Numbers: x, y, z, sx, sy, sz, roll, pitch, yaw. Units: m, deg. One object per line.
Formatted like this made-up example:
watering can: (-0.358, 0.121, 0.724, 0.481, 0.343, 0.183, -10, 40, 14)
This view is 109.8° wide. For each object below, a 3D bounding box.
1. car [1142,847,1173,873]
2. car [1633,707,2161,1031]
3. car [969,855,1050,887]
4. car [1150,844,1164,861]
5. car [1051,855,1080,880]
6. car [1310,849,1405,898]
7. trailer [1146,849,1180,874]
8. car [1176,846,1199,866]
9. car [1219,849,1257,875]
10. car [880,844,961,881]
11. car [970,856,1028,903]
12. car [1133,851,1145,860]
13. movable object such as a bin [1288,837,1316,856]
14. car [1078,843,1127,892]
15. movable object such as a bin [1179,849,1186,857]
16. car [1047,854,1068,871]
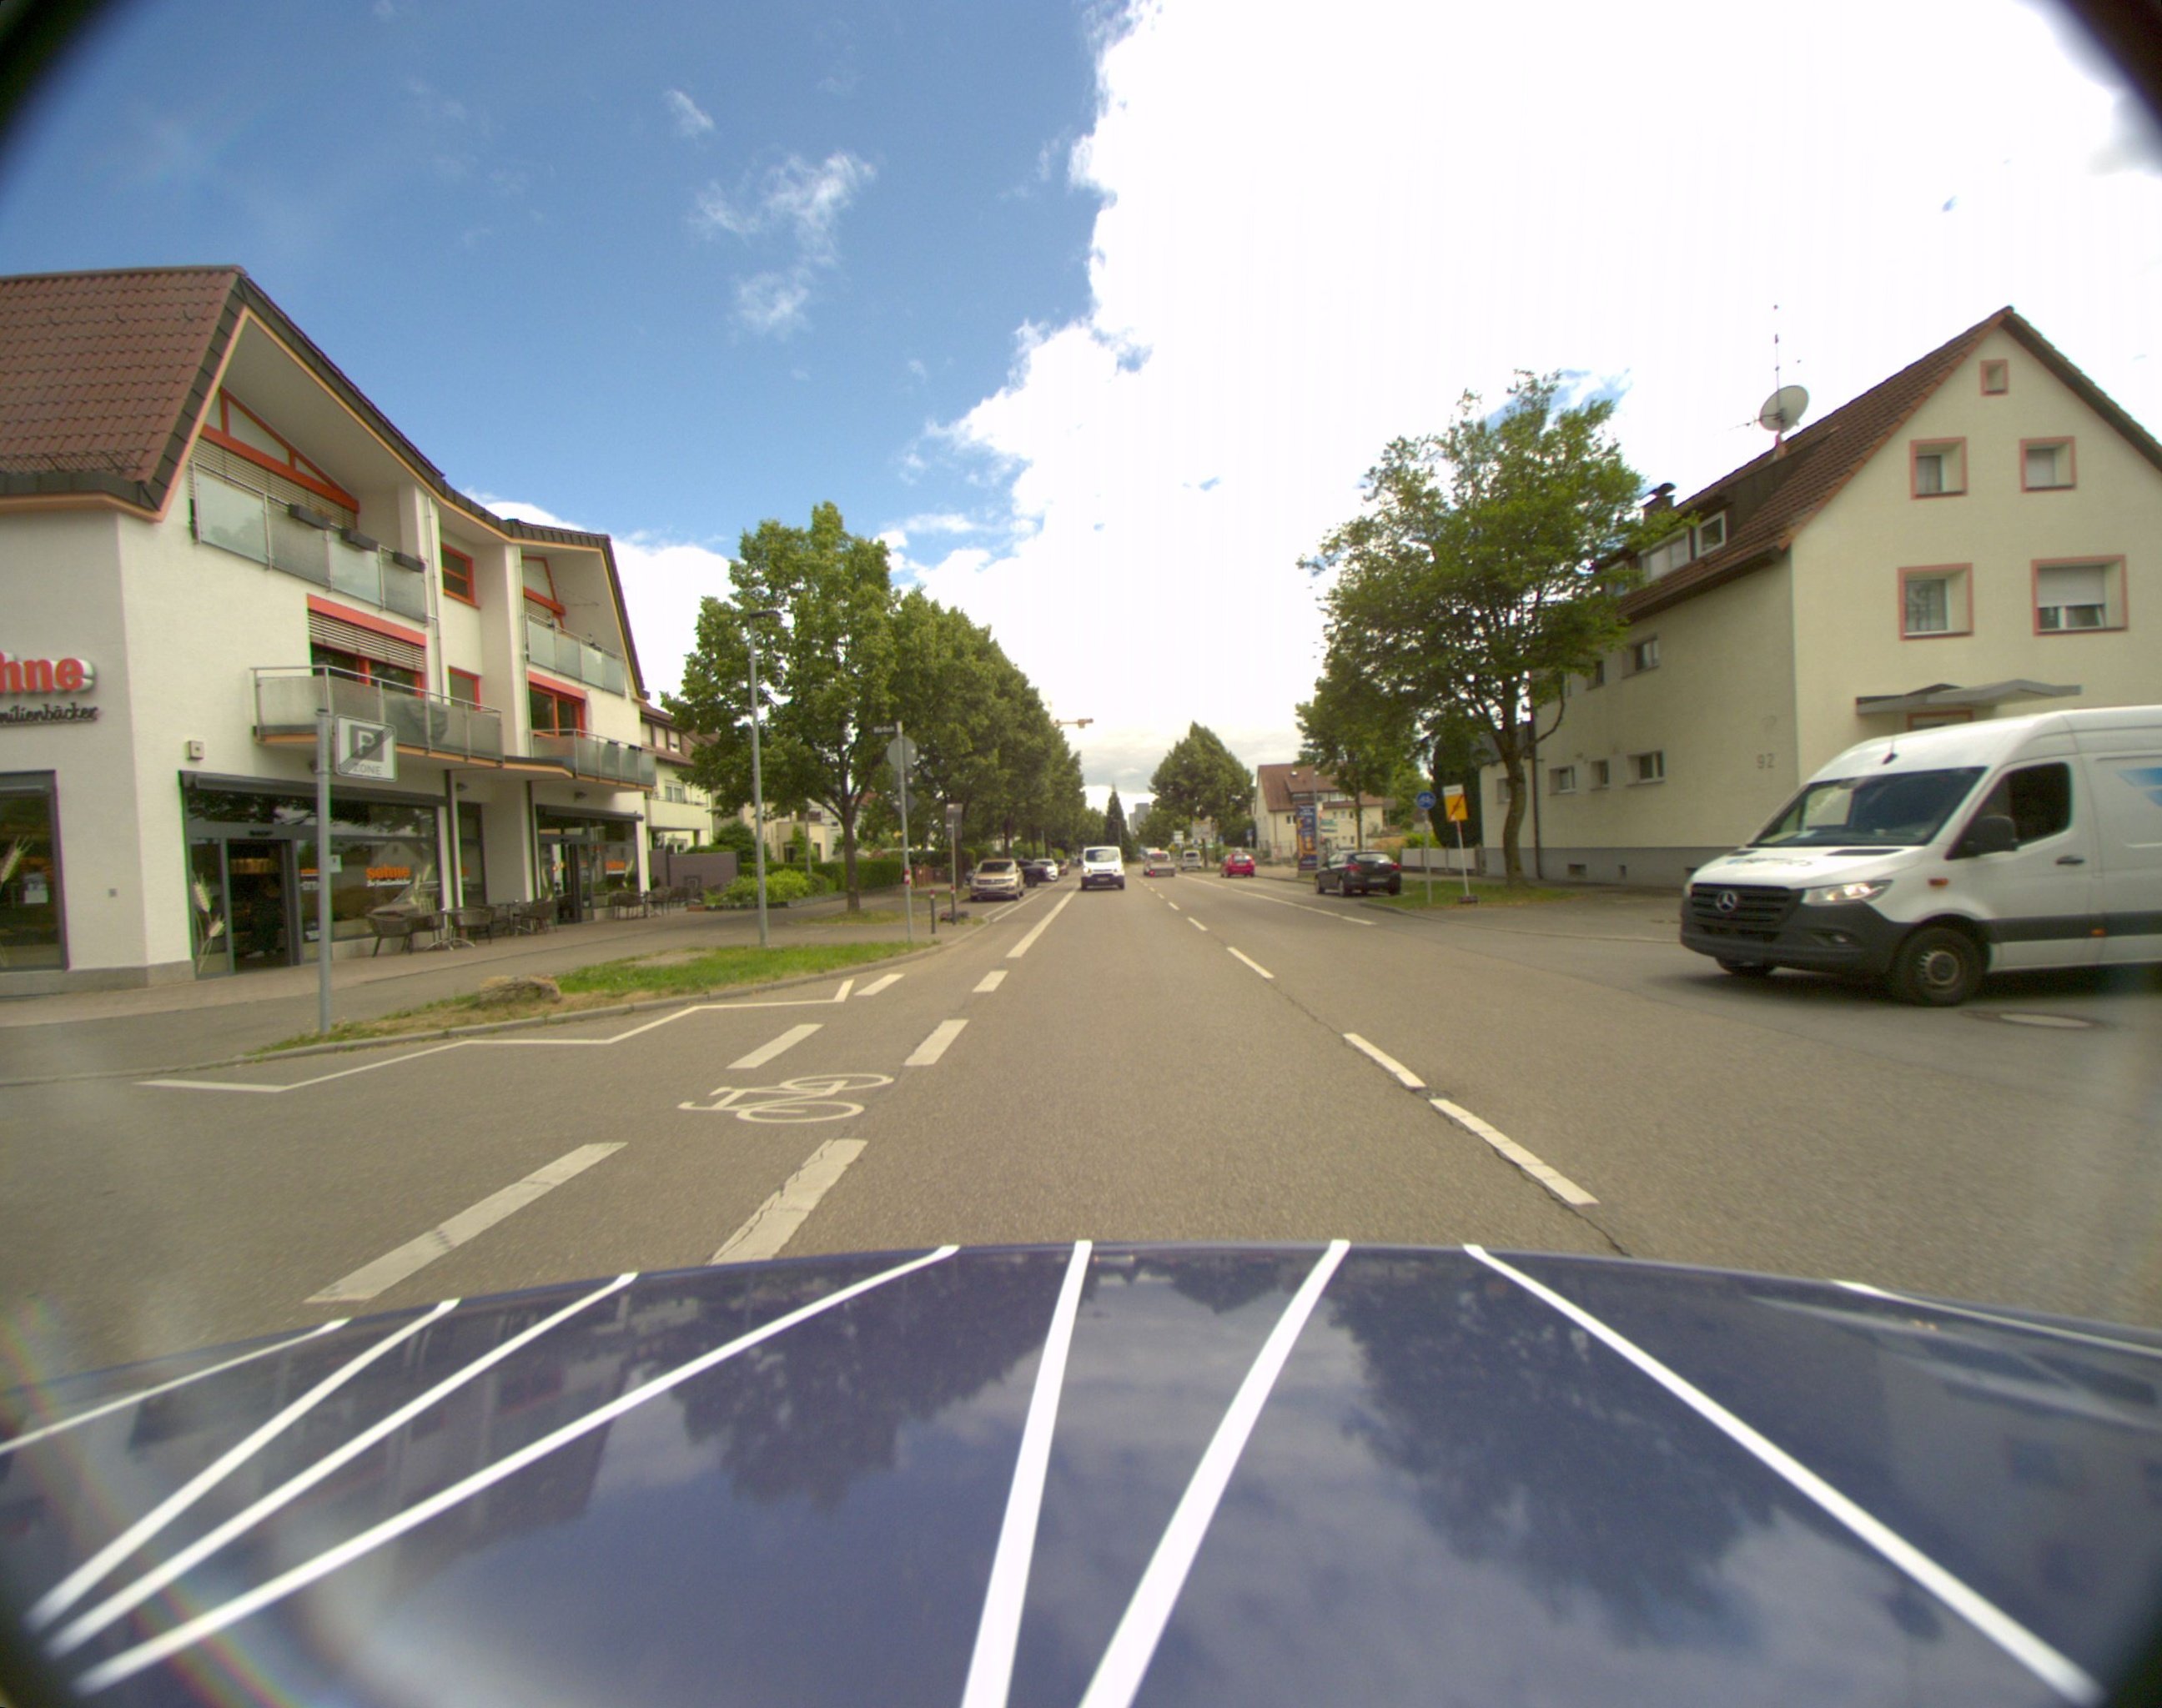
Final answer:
car: (5.927, 0.435, 59.096, 1.971, 1.820, 4.819, -2, 0, 2)
car: (9.886, 0.029, 7.505, 7.308, 2.579, 2.220, -2, 0, -2)
car: (-3.830, 0.902, 40.998, 4.229, 1.628, 1.692, -1, 0, -4)
car: (12.873, -0.271, 128.905, 2.023, 2.658, 5.807, -2, 0, 4)
car: (-0.989, 0.873, 51.215, 1.810, 1.466, 4.812, -2, 0, 0)
car: (9.053, 0.594, 25.220, 1.735, 1.460, 4.302, -2, 0, 3)
trailer: (5.805, 0.525, 54.353, 1.943, 1.667, 4.688, -2, 0, 2)
car: (10.316, 0.182, 73.930, 1.774, 1.760, 4.552, -3, 0, 4)
car: (9.835, 0.493, 47.862, 1.689, 1.532, 4.133, -2, 0, 4)
car: (-12.308, 0.656, 58.557, 5.729, 2.576, 1.997, -2, 0, -3)
car: (-3.070, 0.918, 29.095, 1.726, 1.571, 4.060, -2, 0, 0)
car: (11.347, 0.299, 147.975, 1.926, 1.744, 3.999, -3, 0, -1)
movable object such as a bin: (25.969, -0.868, 89.471, 1.901, 2.175, 4.362, -2, 0, 0)
car: (0.935, 0.562, 34.783, 1.998, 2.002, 5.050, -3, 0, 1)
movable object such as a bin: (19.742, -0.203, 147.980, 0.983, 1.408, 2.723, -3, 0, 2)
car: (-2.035, 0.764, 67.367, 1.657, 1.407, 4.177, -1, 0, 1)
